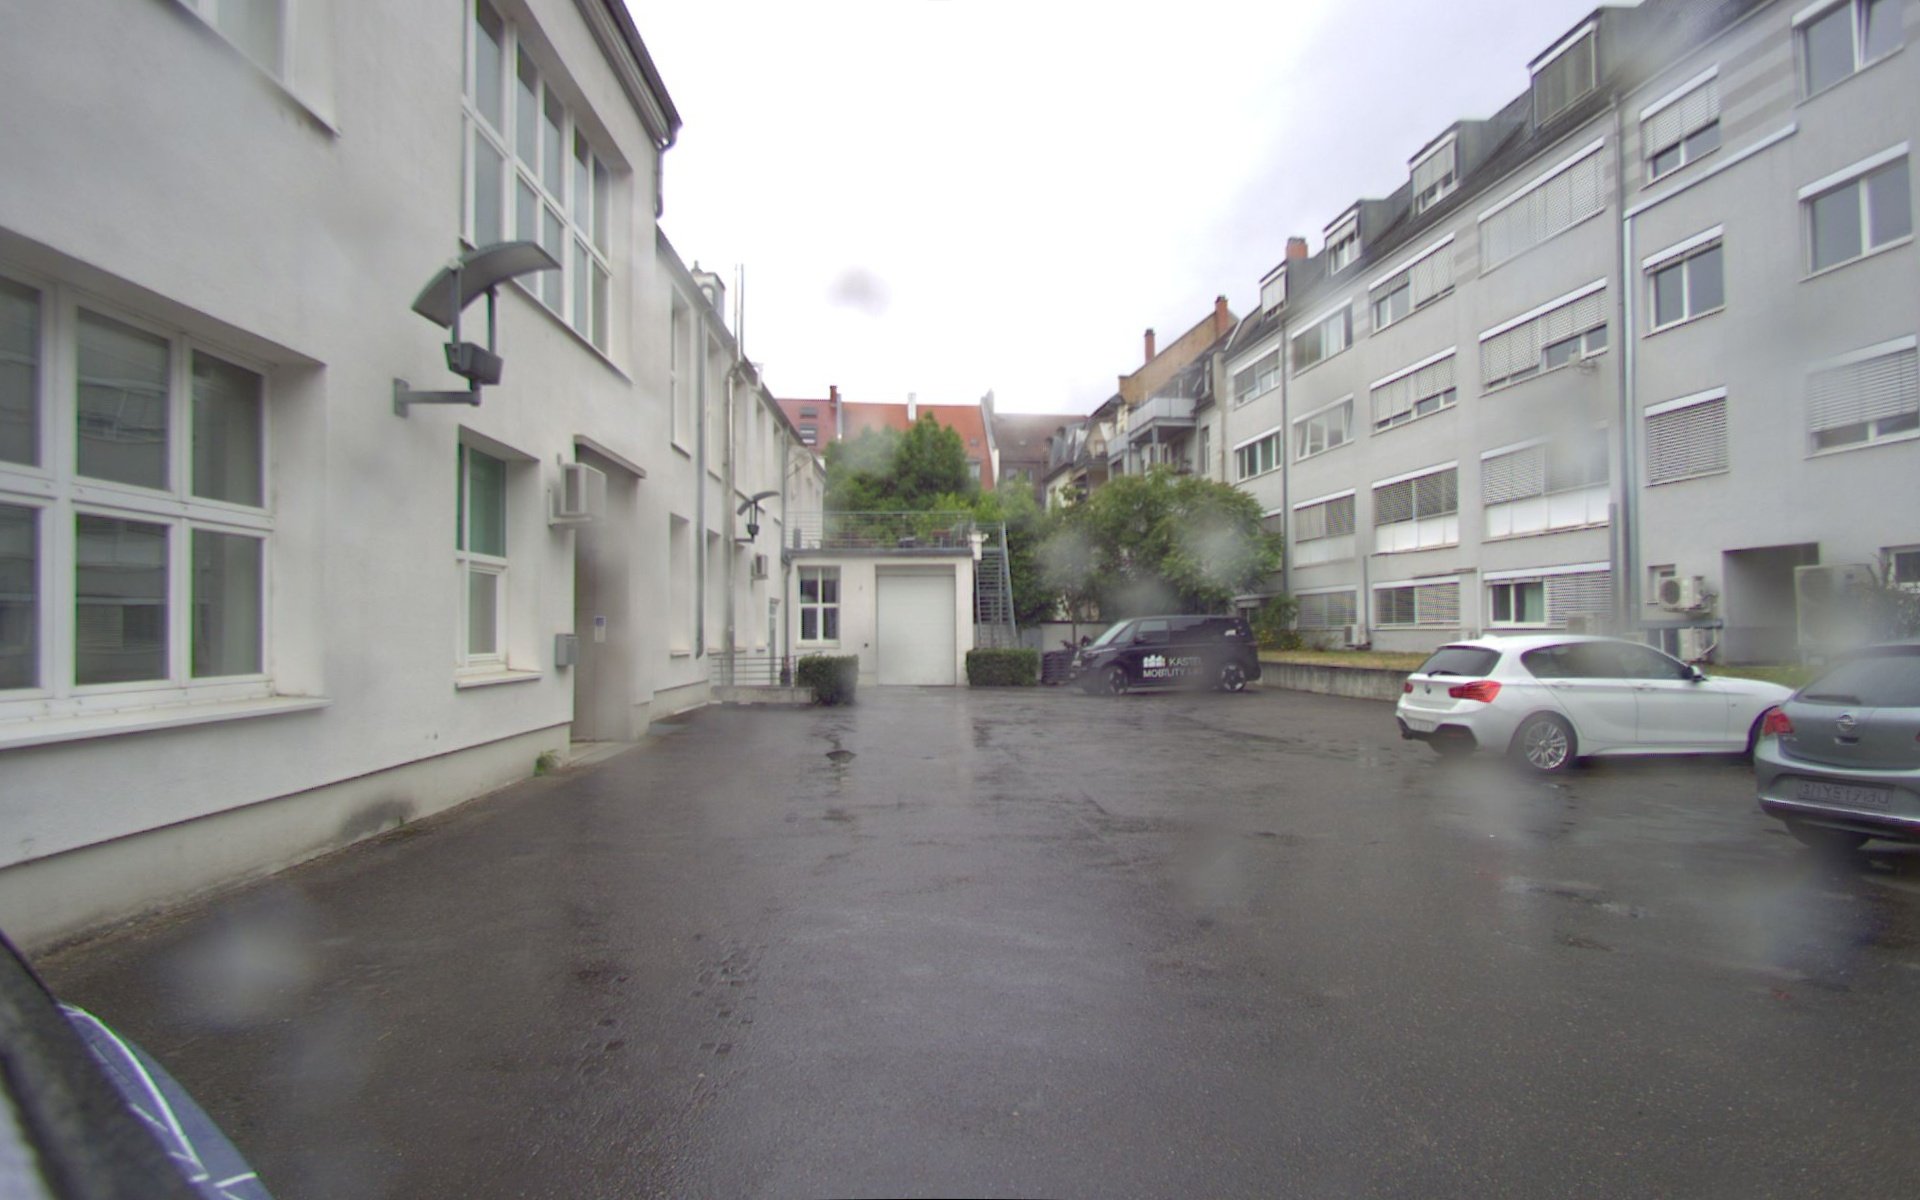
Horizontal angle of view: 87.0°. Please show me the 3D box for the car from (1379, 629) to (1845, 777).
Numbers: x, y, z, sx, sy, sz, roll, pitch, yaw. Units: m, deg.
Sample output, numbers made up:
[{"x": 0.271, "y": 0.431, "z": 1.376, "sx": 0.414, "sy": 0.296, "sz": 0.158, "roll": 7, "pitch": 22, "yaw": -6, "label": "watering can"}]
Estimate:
[{"x": 7.079, "y": 1.062, "z": 11.235, "sx": 4.089, "sy": 1.444, "sz": 1.755, "roll": 0, "pitch": -2, "yaw": -6, "label": "car"}]

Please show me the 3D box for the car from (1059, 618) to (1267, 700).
[{"x": 4.951, "y": 1.439, "z": 25.002, "sx": 4.557, "sy": 1.851, "sz": 1.991, "roll": -1, "pitch": -3, "yaw": -8, "label": "car"}]

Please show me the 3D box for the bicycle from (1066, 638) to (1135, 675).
[{"x": 4.839, "y": 1.941, "z": 34.941, "sx": 2.288, "sy": 1.195, "sz": 0.643, "roll": -1, "pitch": 0, "yaw": 0, "label": "bicycle"}]

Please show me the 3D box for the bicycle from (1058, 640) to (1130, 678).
[{"x": 4.419, "y": 1.953, "z": 33.473, "sx": 2.288, "sy": 1.195, "sz": 0.643, "roll": -1, "pitch": 0, "yaw": 0, "label": "bicycle"}]

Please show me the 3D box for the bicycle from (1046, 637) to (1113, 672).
[{"x": 4.247, "y": 1.944, "z": 36.072, "sx": 2.288, "sy": 1.195, "sz": 0.643, "roll": -1, "pitch": 0, "yaw": 0, "label": "bicycle"}]

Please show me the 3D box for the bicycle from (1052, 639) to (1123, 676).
[{"x": 4.315, "y": 1.951, "z": 34.271, "sx": 2.288, "sy": 1.195, "sz": 0.643, "roll": -1, "pitch": 0, "yaw": 0, "label": "bicycle"}]

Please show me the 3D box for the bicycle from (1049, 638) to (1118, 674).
[{"x": 4.315, "y": 1.946, "z": 35.440, "sx": 2.288, "sy": 1.195, "sz": 0.643, "roll": -1, "pitch": 0, "yaw": 0, "label": "bicycle"}]

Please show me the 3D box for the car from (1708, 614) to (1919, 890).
[{"x": 7.206, "y": 0.832, "z": 6.085, "sx": 4.114, "sy": 1.495, "sz": 1.824, "roll": 0, "pitch": -3, "yaw": -6, "label": "car"}]
